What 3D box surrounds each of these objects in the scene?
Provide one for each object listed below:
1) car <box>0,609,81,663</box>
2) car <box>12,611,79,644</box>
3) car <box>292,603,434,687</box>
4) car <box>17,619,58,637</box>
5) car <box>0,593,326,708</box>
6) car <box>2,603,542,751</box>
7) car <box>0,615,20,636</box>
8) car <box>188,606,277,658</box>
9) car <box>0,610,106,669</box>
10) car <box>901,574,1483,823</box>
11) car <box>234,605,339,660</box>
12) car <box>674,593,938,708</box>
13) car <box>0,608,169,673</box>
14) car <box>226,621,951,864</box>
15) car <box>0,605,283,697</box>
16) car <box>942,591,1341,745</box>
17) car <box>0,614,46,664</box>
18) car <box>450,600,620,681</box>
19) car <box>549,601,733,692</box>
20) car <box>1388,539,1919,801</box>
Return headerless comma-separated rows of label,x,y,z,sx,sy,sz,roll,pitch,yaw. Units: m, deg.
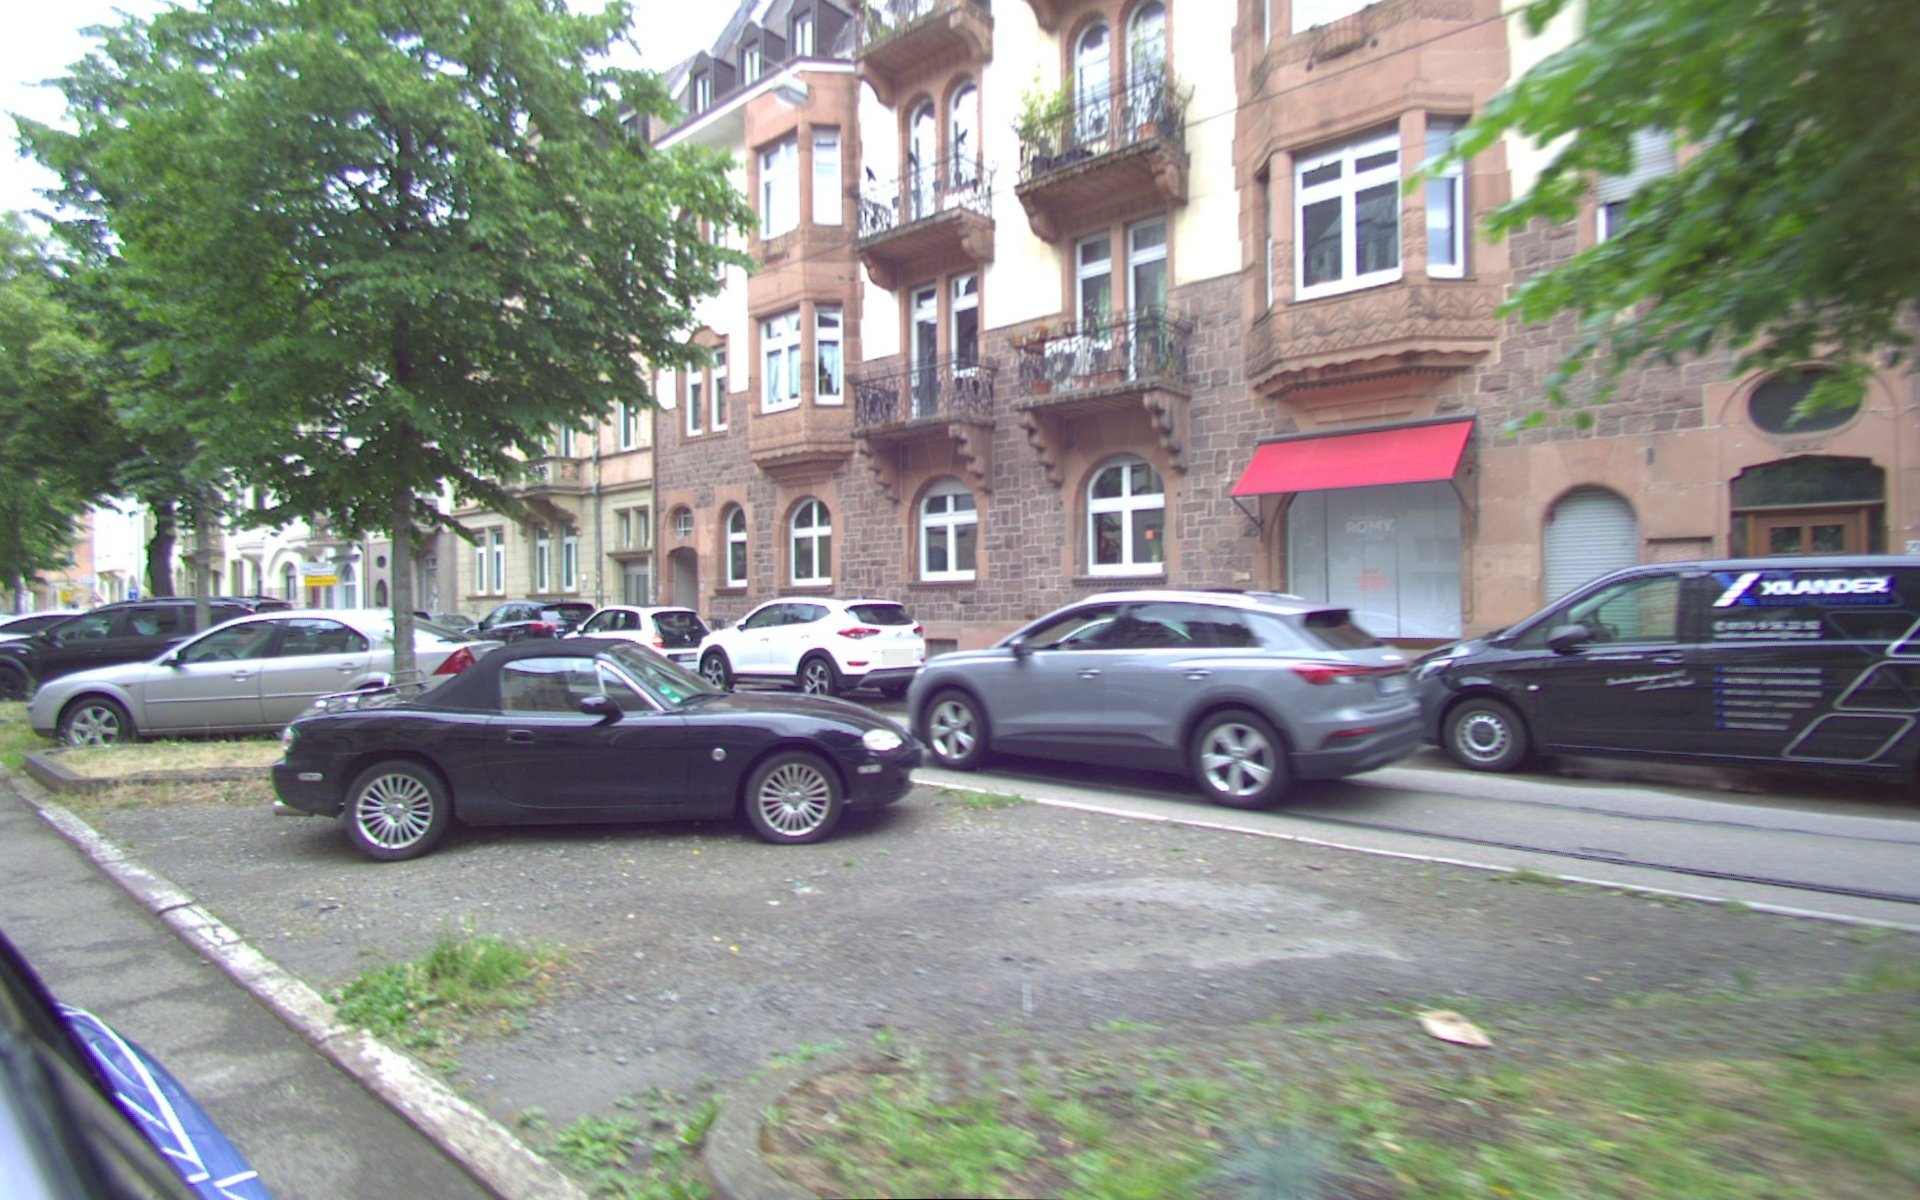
car,-28.389,1.059,29.461,3.940,1.496,1.778,-1,0,-4
car,-44.050,1.295,48.715,4.649,1.464,1.786,-1,0,40
car,-11.928,0.847,20.180,2.890,1.526,1.588,-1,0,40
car,-64.270,1.912,70.502,3.377,1.185,1.619,-1,0,39
car,-12.692,0.746,15.778,4.463,1.645,1.767,-1,0,-5
car,-7.207,0.758,11.042,4.595,1.378,1.760,-1,0,-6
car,-78.216,2.065,82.414,4.508,1.617,1.773,-1,0,39
car,-27.973,1.203,38.858,4.429,1.885,1.831,-1,-1,41
car,-26.204,1.069,27.397,4.497,1.504,1.865,-1,0,-3
car,1.755,0.642,8.645,4.543,1.591,1.786,-1,0,40
car,-22.509,1.041,33.767,4.270,1.692,1.786,-1,0,40
car,-2.623,0.730,16.536,4.550,1.639,1.723,-1,0,40
car,-20.535,0.901,22.659,4.066,1.322,1.866,-1,0,-6
car,-2.091,0.787,6.464,3.902,1.211,1.670,-1,0,-5
car,-15.017,0.868,18.044,4.472,1.501,2.038,-1,0,-5
car,2.055,0.699,12.337,4.550,1.553,1.723,-1,0,40
car,-33.883,1.314,34.254,4.140,1.621,1.728,0,0,-8
car,-9.550,0.833,22.605,4.317,1.641,1.751,-1,0,40
car,-6.193,0.830,19.475,3.720,1.571,1.645,-1,0,40
car,6.418,0.482,8.244,5.114,1.795,1.795,-1,0,40
